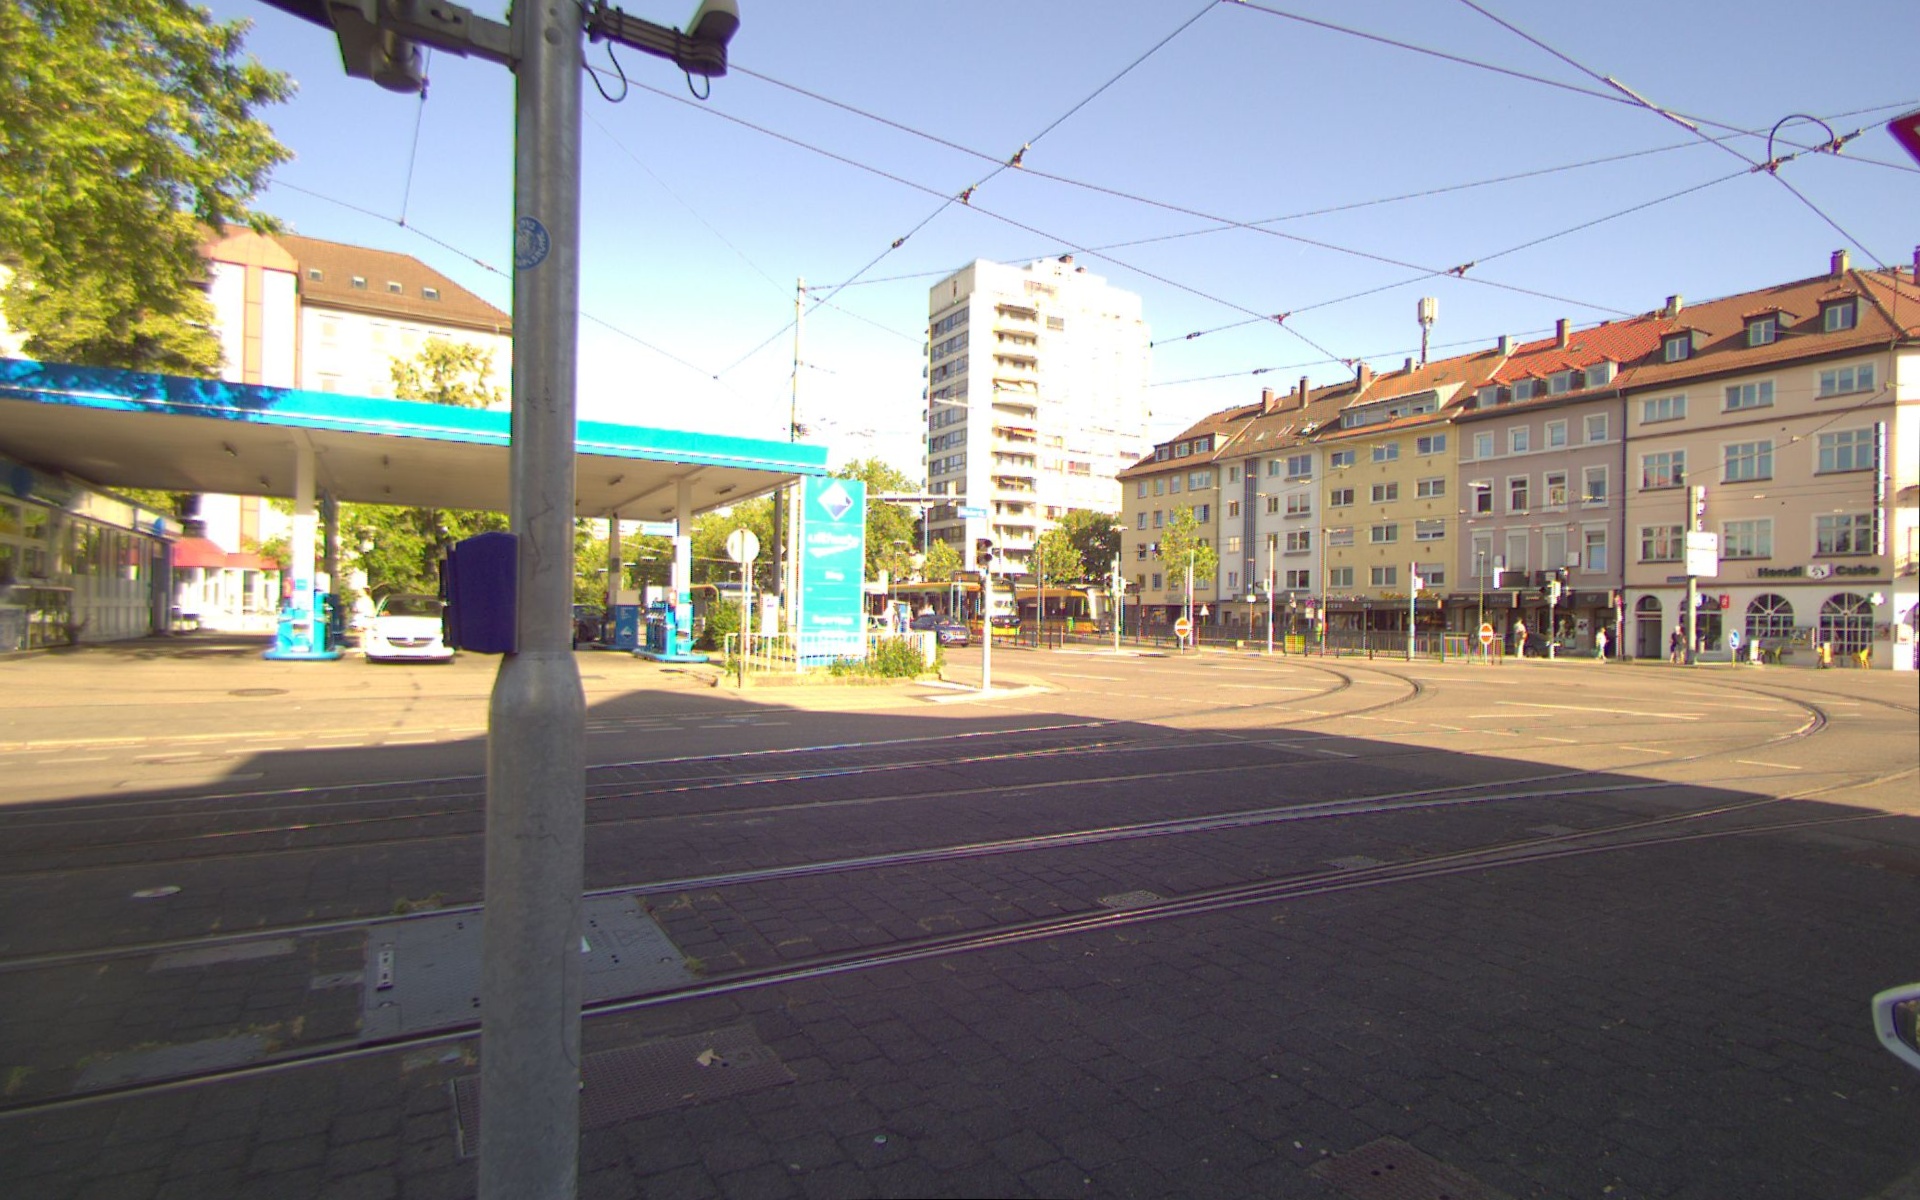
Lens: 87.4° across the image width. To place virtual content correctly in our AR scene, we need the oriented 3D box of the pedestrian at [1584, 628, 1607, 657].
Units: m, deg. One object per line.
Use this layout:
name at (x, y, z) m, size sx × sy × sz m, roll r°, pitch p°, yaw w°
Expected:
pedestrian at (34.543, 2.302, 54.602) m, size 0.849 × 1.547 × 0.786 m, roll 1°, pitch -1°, yaw -29°

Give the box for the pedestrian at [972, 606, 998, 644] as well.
pedestrian at (1.190, 1.195, 48.592) m, size 0.902 × 1.826 × 0.887 m, roll 1°, pitch -1°, yaw -33°

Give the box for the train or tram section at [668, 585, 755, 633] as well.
train or tram section at (-15.030, 0.443, 60.043) m, size 2.233 × 2.627 × 10.398 m, roll 2°, pitch 0°, yaw -30°

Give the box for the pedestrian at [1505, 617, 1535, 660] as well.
pedestrian at (24.497, 1.690, 43.960) m, size 0.801 × 1.842 × 0.871 m, roll 1°, pitch -1°, yaw -29°

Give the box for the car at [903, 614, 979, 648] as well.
car at (-0.957, 1.485, 48.353) m, size 1.937 × 1.475 × 4.077 m, roll 1°, pitch 0°, yaw -30°

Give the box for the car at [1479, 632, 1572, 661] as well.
car at (30.776, 2.491, 54.720) m, size 1.980 × 1.483 × 3.962 m, roll 1°, pitch -1°, yaw -34°

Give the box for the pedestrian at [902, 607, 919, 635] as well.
pedestrian at (-2.913, 1.237, 58.938) m, size 0.709 × 1.646 × 0.702 m, roll 0°, pitch -1°, yaw 24°

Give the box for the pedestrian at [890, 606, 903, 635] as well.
pedestrian at (-3.658, 1.166, 57.737) m, size 0.500 × 1.646 × 0.605 m, roll 0°, pitch -1°, yaw 30°

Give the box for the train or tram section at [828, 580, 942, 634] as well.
train or tram section at (-5.250, 0.513, 67.586) m, size 3.252 × 3.335 × 10.157 m, roll 1°, pitch -1°, yaw -33°

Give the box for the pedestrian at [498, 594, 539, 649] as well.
pedestrian at (-14.894, 0.711, 33.879) m, size 0.896 × 1.826 × 0.893 m, roll 0°, pitch -1°, yaw 34°

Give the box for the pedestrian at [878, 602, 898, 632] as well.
pedestrian at (-4.435, 1.069, 62.061) m, size 0.902 × 1.826 × 0.887 m, roll 1°, pitch -1°, yaw -33°

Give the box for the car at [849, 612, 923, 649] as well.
car at (-3.506, 1.386, 46.811) m, size 1.976 × 1.615 × 3.970 m, roll 1°, pitch -1°, yaw -29°

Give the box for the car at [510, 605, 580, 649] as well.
car at (-13.501, 0.857, 32.582) m, size 1.752 × 1.332 × 3.520 m, roll 1°, pitch -1°, yaw -28°

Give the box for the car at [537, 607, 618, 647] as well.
car at (-17.203, 1.204, 45.387) m, size 1.960 × 1.685 × 4.001 m, roll 1°, pitch -1°, yaw 2°

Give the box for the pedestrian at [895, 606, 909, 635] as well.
pedestrian at (-3.303, 1.178, 57.674) m, size 0.506 × 1.646 × 0.666 m, roll 0°, pitch -1°, yaw 30°

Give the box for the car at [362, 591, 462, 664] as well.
car at (-12.271, 0.600, 22.437) m, size 1.773 × 1.461 × 3.968 m, roll 2°, pitch -1°, yaw -30°

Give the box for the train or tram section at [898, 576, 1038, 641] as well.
train or tram section at (0.231, 0.510, 58.968) m, size 3.252 × 3.459 × 10.157 m, roll 1°, pitch -1°, yaw -33°

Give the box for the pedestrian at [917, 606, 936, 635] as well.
pedestrian at (-1.906, 1.154, 56.929) m, size 0.791 × 1.646 × 0.706 m, roll 1°, pitch -1°, yaw -33°

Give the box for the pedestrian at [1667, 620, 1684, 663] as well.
pedestrian at (34.211, 1.979, 48.026) m, size 0.498 × 2.040 × 0.507 m, roll 1°, pitch -1°, yaw -27°

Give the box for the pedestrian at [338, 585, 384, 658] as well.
pedestrian at (-13.917, 0.497, 23.351) m, size 0.801 × 1.652 × 0.643 m, roll 1°, pitch -1°, yaw -24°

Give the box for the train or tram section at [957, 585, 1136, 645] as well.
train or tram section at (5.356, 0.974, 68.625) m, size 3.275 × 3.617 × 16.451 m, roll 1°, pitch -1°, yaw -30°
